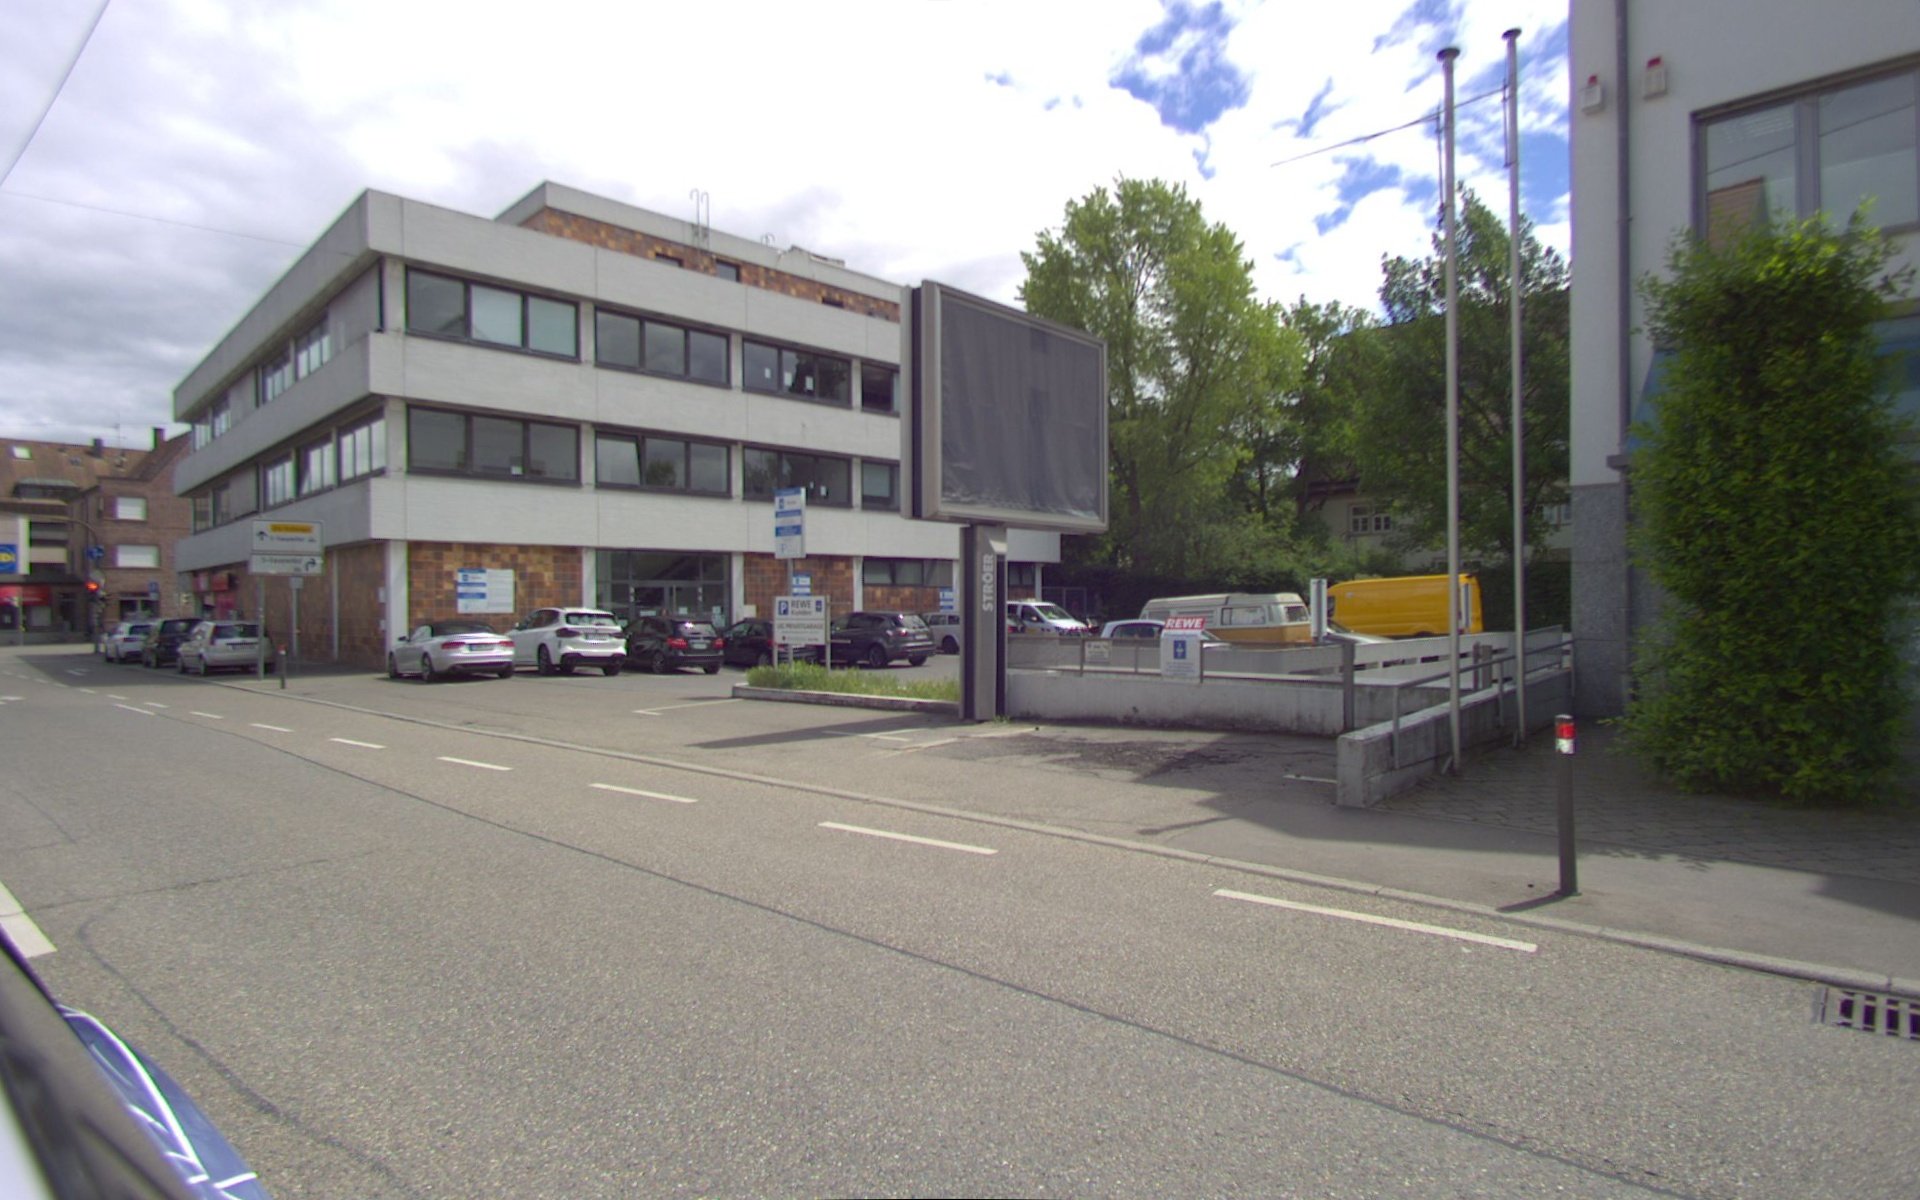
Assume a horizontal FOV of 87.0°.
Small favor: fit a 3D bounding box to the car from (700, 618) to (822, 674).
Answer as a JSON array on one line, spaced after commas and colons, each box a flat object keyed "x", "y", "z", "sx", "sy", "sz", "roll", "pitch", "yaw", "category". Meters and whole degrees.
[{"x": -5.932, "y": 1.329, "z": 29.997, "sx": 3.604, "sy": 1.558, "sz": 1.744, "roll": -2, "pitch": -1, "yaw": 42, "category": "car"}]

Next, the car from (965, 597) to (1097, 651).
[{"x": 2.675, "y": 0.914, "z": 39.119, "sx": 1.945, "sy": 1.956, "sz": 5.092, "roll": 0, "pitch": -1, "yaw": -44, "category": "car"}]

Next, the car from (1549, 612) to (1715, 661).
[{"x": 19.130, "y": 1.024, "z": 28.897, "sx": 1.692, "sy": 1.294, "sz": 3.664, "roll": 0, "pitch": -1, "yaw": -45, "category": "car"}]

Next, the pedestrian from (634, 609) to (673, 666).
[{"x": -9.254, "y": 1.126, "z": 30.537, "sx": 0.709, "sy": 1.684, "sz": 0.996, "roll": 2, "pitch": -3, "yaw": -44, "category": "pedestrian"}]

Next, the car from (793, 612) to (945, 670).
[{"x": -2.756, "y": 1.203, "z": 30.017, "sx": 4.493, "sy": 1.590, "sz": 1.902, "roll": -2, "pitch": -2, "yaw": 41, "category": "car"}]

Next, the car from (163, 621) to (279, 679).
[{"x": -20.463, "y": 1.338, "z": 27.961, "sx": 4.146, "sy": 1.433, "sz": 1.704, "roll": -2, "pitch": 0, "yaw": 41, "category": "car"}]

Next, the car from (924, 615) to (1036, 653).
[{"x": 0.709, "y": 1.227, "z": 37.383, "sx": 1.825, "sy": 1.304, "sz": 4.003, "roll": 0, "pitch": -1, "yaw": -44, "category": "car"}]

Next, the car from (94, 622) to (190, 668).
[{"x": -29.320, "y": 1.555, "z": 36.220, "sx": 4.953, "sy": 1.455, "sz": 2.022, "roll": -2, "pitch": 0, "yaw": 44, "category": "car"}]

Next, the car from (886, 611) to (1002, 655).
[{"x": -0.612, "y": 1.141, "z": 35.779, "sx": 1.825, "sy": 1.472, "sz": 4.003, "roll": 0, "pitch": -1, "yaw": -44, "category": "car"}]

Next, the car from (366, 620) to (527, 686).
[{"x": -12.176, "y": 1.189, "z": 23.859, "sx": 4.857, "sy": 1.368, "sz": 1.929, "roll": -2, "pitch": -1, "yaw": 44, "category": "car"}]

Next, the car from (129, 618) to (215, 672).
[{"x": -25.134, "y": 1.401, "z": 32.250, "sx": 3.057, "sy": 1.567, "sz": 1.717, "roll": -2, "pitch": 0, "yaw": 44, "category": "car"}]

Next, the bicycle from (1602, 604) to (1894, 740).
[{"x": 7.032, "y": 0.606, "z": 9.127, "sx": 2.002, "sy": 1.103, "sz": 0.624, "roll": -2, "pitch": -1, "yaw": 42, "category": "bicycle"}]

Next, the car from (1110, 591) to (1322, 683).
[{"x": 6.052, "y": 0.859, "z": 24.339, "sx": 4.649, "sy": 2.004, "sz": 1.817, "roll": -2, "pitch": -1, "yaw": 44, "category": "car"}]

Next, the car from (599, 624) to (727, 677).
[{"x": -8.102, "y": 1.327, "z": 27.474, "sx": 3.604, "sy": 1.341, "sz": 1.744, "roll": -2, "pitch": -1, "yaw": 42, "category": "car"}]

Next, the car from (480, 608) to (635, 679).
[{"x": -10.284, "y": 1.099, "z": 25.653, "sx": 1.928, "sy": 1.632, "sz": 4.934, "roll": 3, "pitch": -4, "yaw": -43, "category": "car"}]

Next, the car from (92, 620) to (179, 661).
[{"x": -32.930, "y": 1.579, "z": 40.377, "sx": 4.284, "sy": 1.486, "sz": 2.023, "roll": -2, "pitch": 0, "yaw": 42, "category": "car"}]

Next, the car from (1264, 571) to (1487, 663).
[{"x": 12.522, "y": 0.560, "z": 30.862, "sx": 5.977, "sy": 2.549, "sz": 2.039, "roll": -1, "pitch": -3, "yaw": 43, "category": "car"}]

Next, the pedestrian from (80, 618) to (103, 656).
[{"x": -38.667, "y": 1.636, "z": 45.064, "sx": 0.682, "sy": 1.657, "sz": 0.709, "roll": -2, "pitch": 0, "yaw": 45, "category": "pedestrian"}]

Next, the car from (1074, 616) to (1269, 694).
[{"x": 4.575, "y": 1.141, "z": 22.086, "sx": 3.751, "sy": 1.541, "sz": 1.795, "roll": -1, "pitch": -1, "yaw": 38, "category": "car"}]
